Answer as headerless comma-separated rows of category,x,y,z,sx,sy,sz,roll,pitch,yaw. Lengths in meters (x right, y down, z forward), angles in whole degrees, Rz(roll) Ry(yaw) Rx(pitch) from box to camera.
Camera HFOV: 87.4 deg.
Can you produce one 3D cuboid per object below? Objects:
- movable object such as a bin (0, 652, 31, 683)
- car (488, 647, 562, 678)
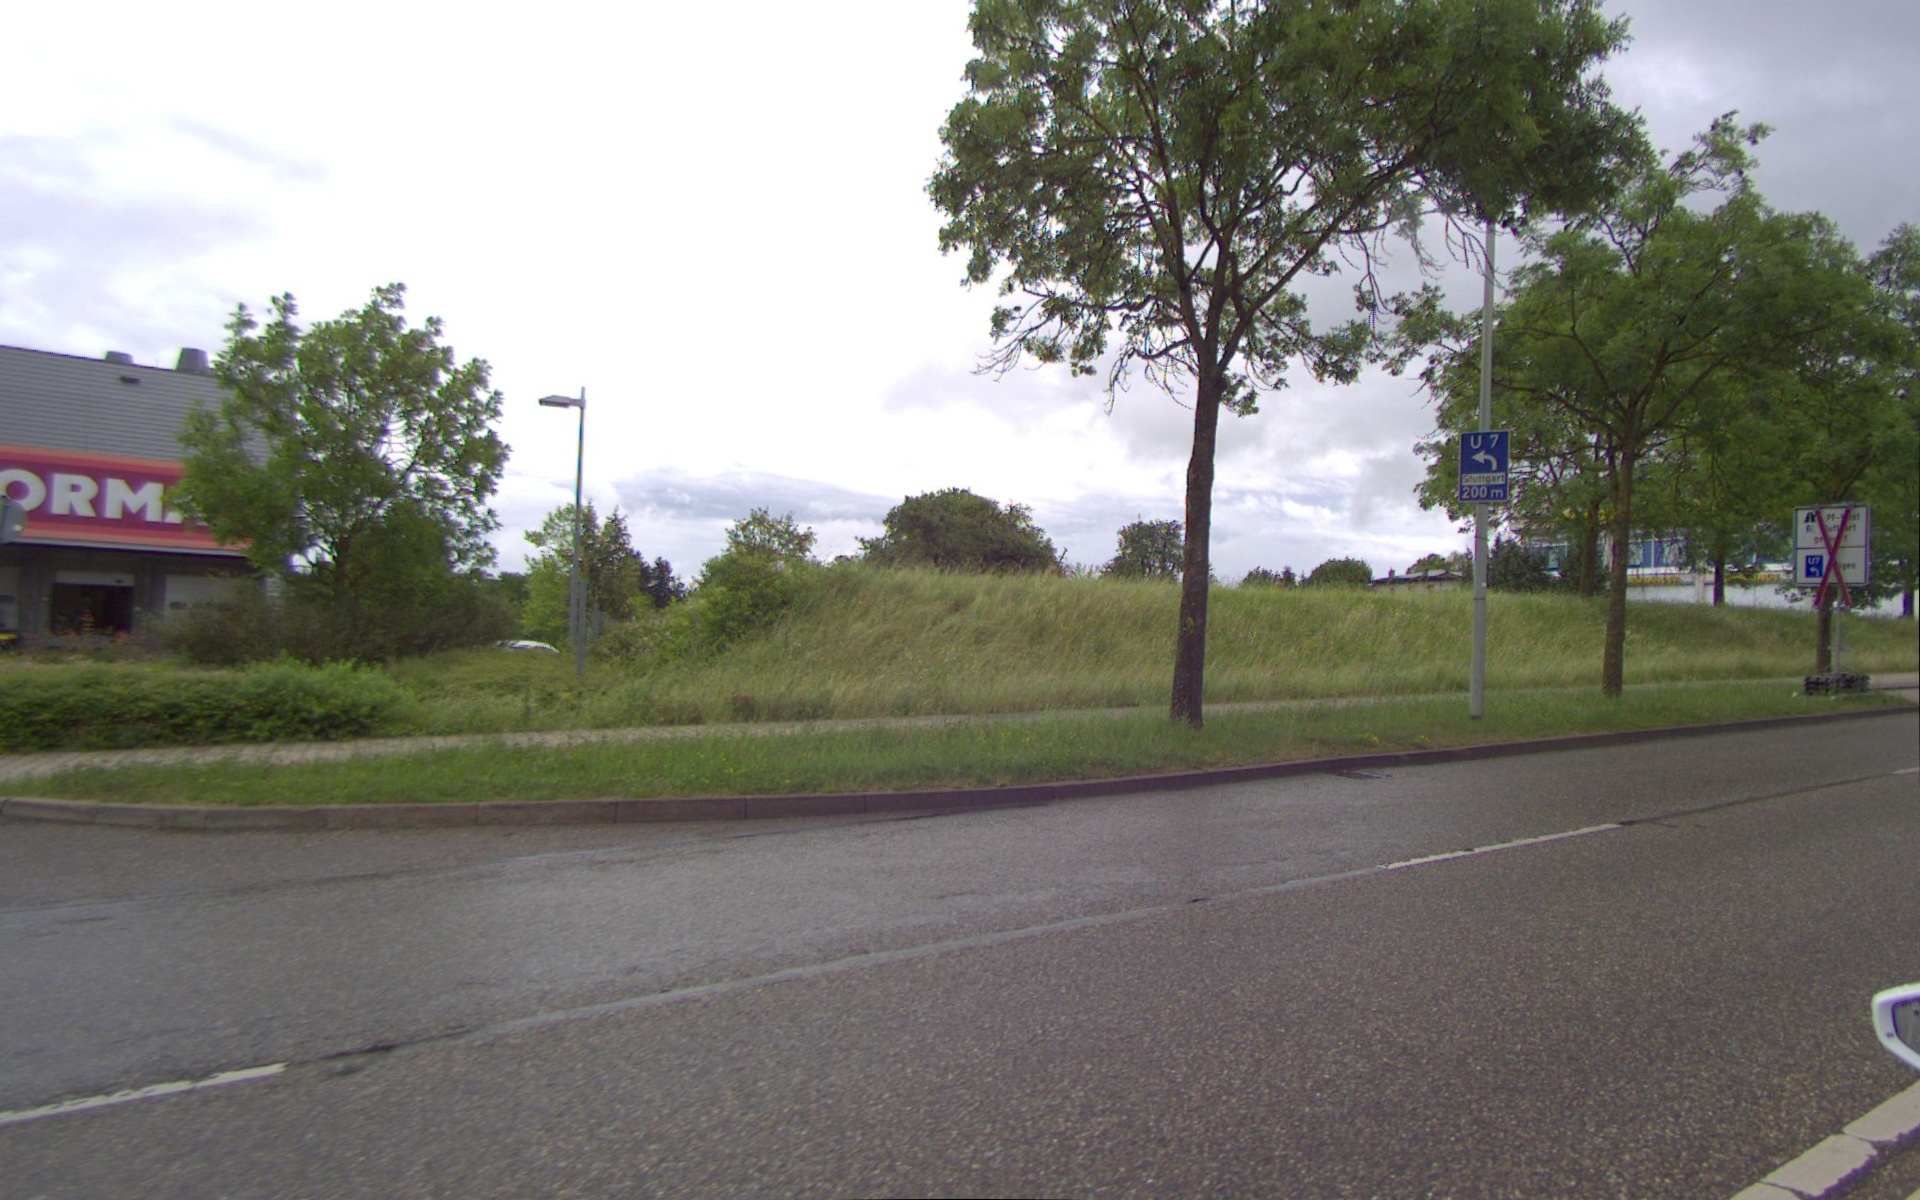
movable object such as a bin,-38.541,2.711,40.551,1.228,1.195,1.413,3,-3,-31
car,-20.723,2.946,47.912,3.094,1.387,1.449,1,-1,-19
